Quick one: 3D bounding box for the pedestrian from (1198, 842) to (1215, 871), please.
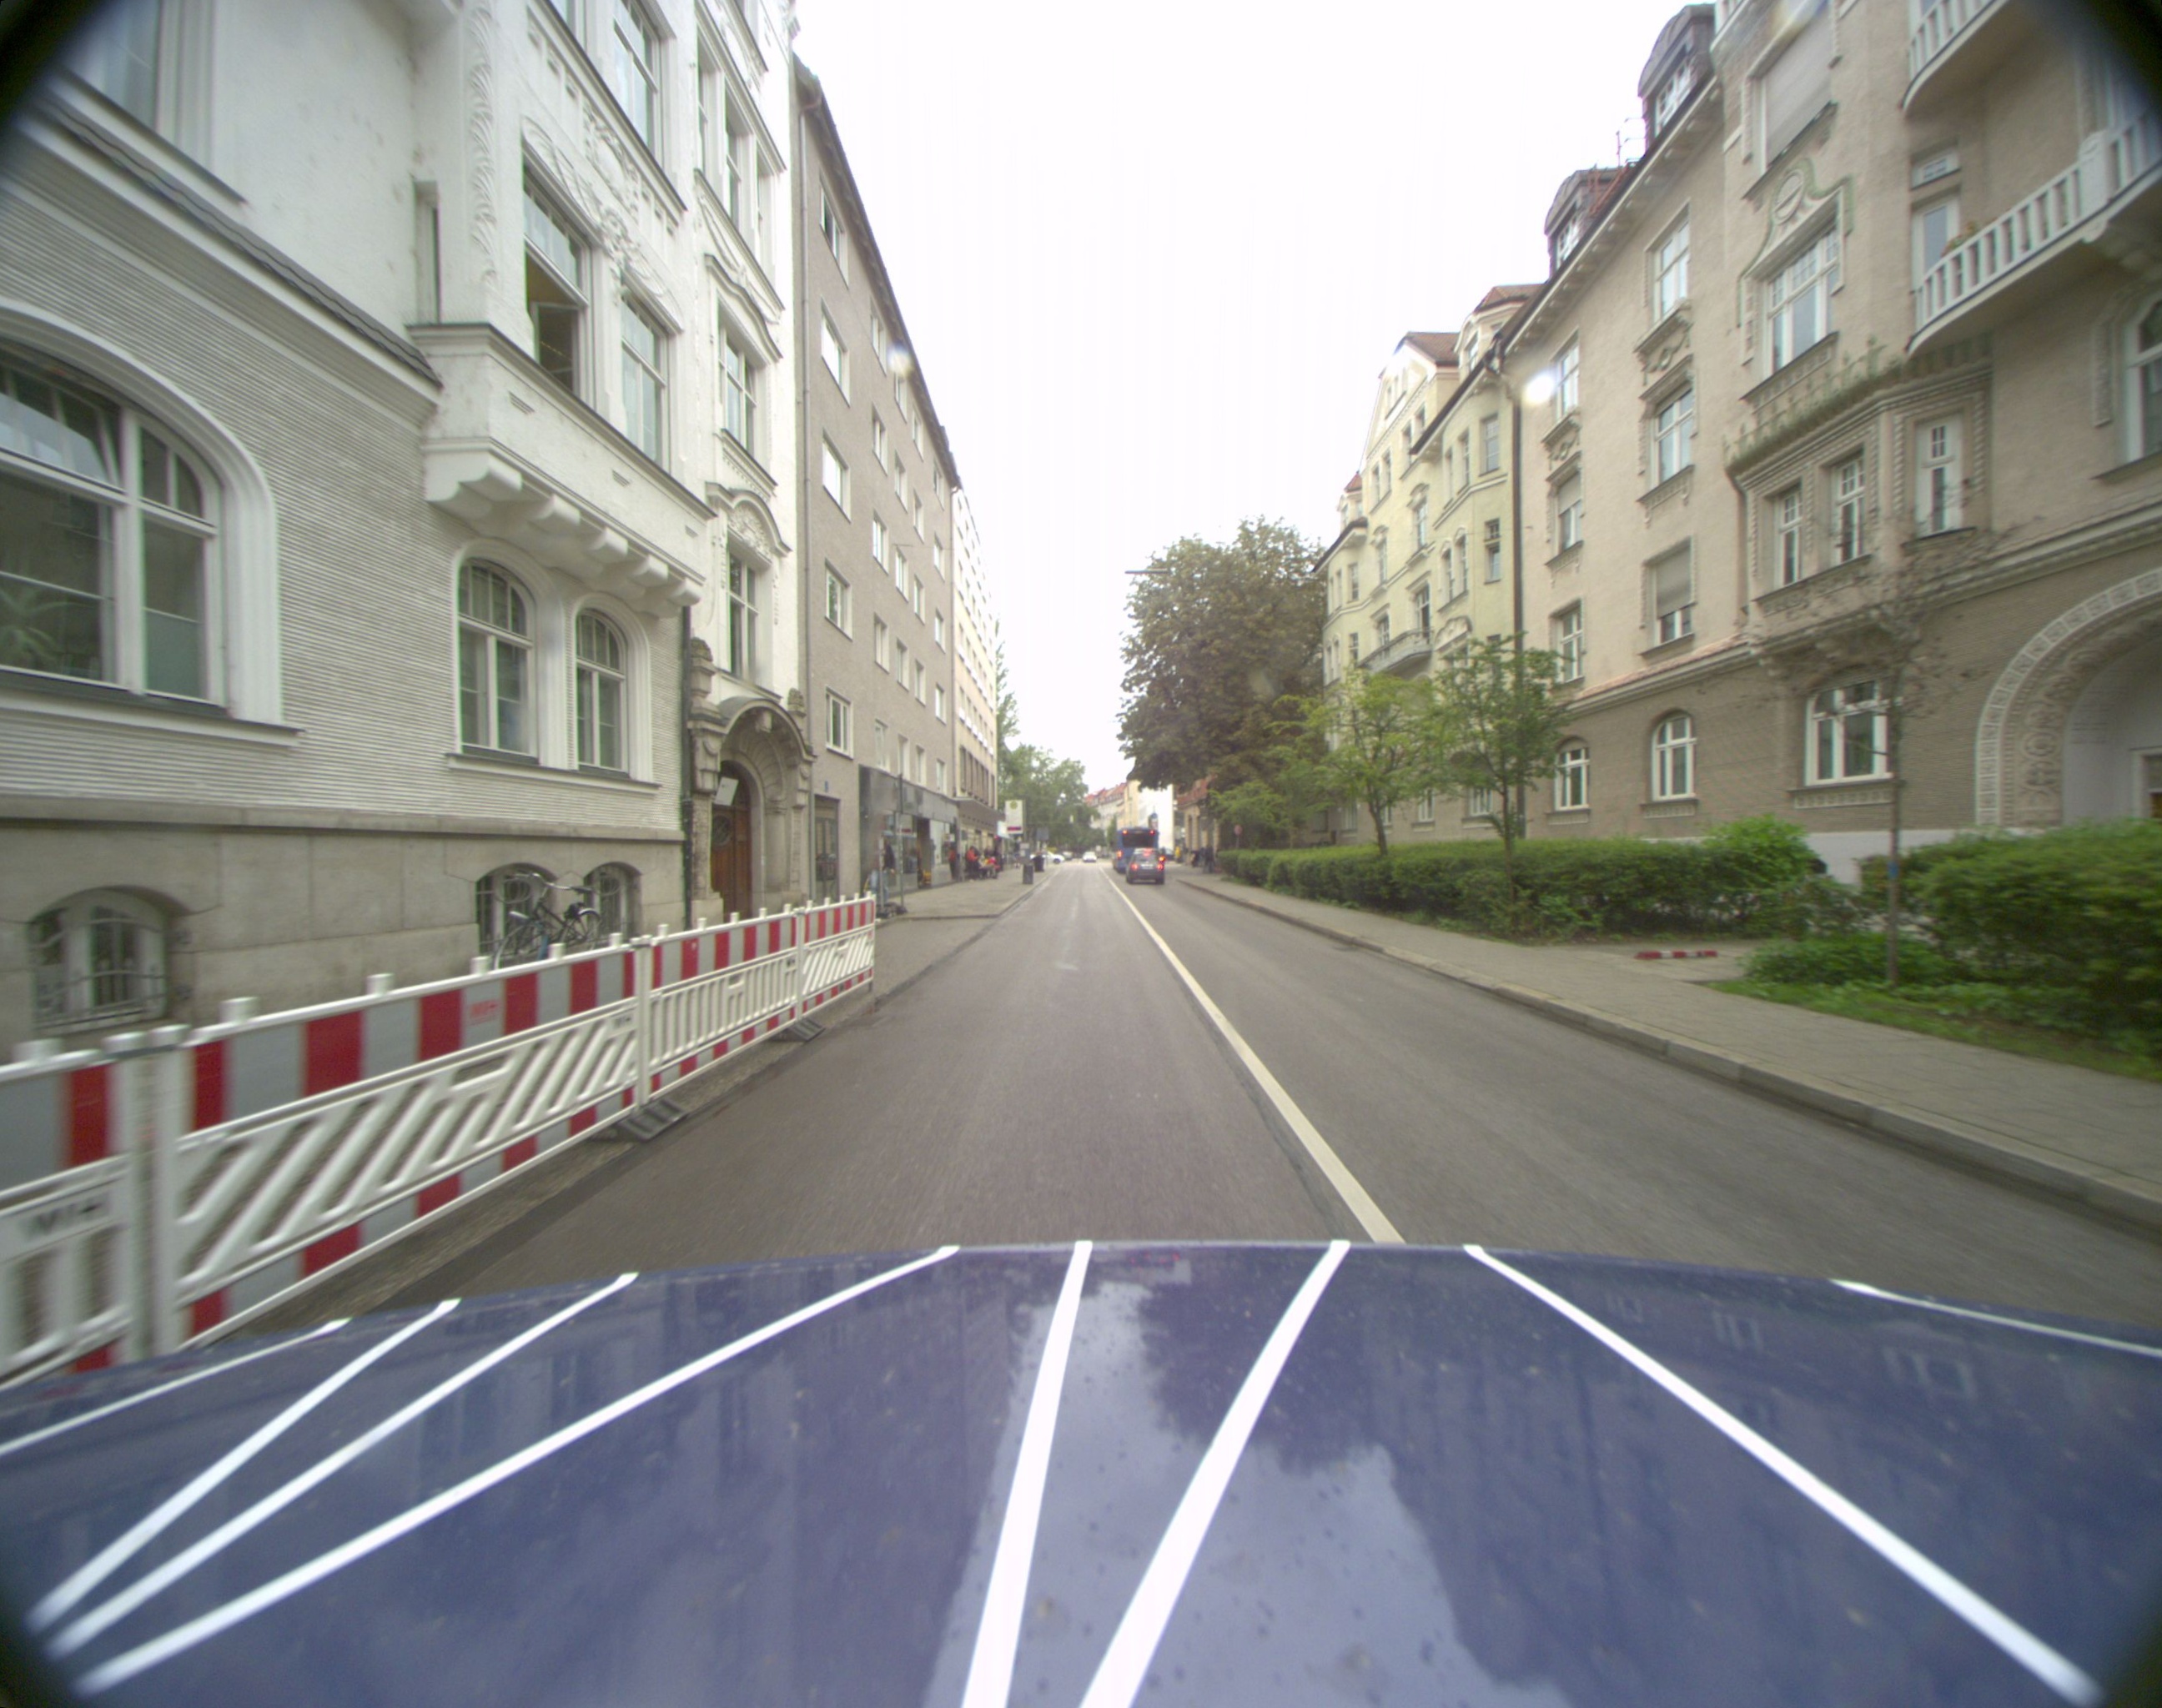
[{"bbox_3d":[7.800,0.157,47.151,0.875,1.735,0.910,0,1,0],"label":"pedestrian"}]

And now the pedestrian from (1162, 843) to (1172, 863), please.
[{"bbox_3d":[8.771,-0.067,77.504,0.952,2.002,1.397,0,1,11],"label":"pedestrian"}]

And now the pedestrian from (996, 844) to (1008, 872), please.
[{"bbox_3d":[-5.057,0.228,48.829,0.659,1.773,0.771,0,1,1],"label":"pedestrian"}]

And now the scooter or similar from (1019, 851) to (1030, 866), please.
[{"bbox_3d":[-4.780,0.345,64.411,0.563,1.234,1.445,-1,1,11],"label":"scooter or similar"}]

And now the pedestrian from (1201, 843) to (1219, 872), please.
[{"bbox_3d":[7.686,0.192,45.404,0.910,1.735,0.847,0,1,0],"label":"pedestrian"}]

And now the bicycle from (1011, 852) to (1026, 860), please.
[{"bbox_3d":[-9.082,0.321,110.877,2.124,1.110,0.738,0,1,-9],"label":"bicycle"}]

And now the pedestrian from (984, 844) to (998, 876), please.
[{"bbox_3d":[-4.944,0.314,41.672,0.659,1.723,0.684,0,1,1],"label":"pedestrian"}]

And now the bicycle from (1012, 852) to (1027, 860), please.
[{"bbox_3d":[-8.918,0.320,110.037,2.124,1.110,0.738,0,1,-9],"label":"bicycle"}]

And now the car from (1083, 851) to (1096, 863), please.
[{"bbox_3d":[1.256,0.459,112.567,1.927,1.608,3.999,-1,1,0],"label":"car"}]

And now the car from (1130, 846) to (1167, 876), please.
[{"bbox_3d":[3.770,0.361,42.928,1.772,1.635,4.273,0,1,1],"label":"car"}]

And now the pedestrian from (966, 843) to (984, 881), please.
[{"bbox_3d":[-4.917,0.375,35.181,0.704,1.723,0.746,0,1,1],"label":"pedestrian"}]

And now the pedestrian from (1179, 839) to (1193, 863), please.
[{"bbox_3d":[8.797,-0.235,63.564,0.832,2.002,0.778,-2,2,-42],"label":"pedestrian"}]

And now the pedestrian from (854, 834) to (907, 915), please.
[{"bbox_3d":[-4.901,0.481,18.674,0.929,1.899,1.179,1,1,1],"label":"pedestrian"}]

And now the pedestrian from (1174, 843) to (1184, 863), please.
[{"bbox_3d":[10.011,-0.109,77.760,0.952,2.002,1.397,0,1,11],"label":"pedestrian"}]

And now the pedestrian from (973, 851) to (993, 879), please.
[{"bbox_3d":[-4.870,0.542,37.863,0.862,1.344,0.862,0,1,1],"label":"pedestrian"}]

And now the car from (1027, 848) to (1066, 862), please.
[{"bbox_3d":[-3.823,0.122,85.087,4.276,1.510,1.999,-1,1,-3],"label":"car"}]

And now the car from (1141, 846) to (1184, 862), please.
[{"bbox_3d":[8.747,-0.021,82.082,4.460,1.738,1.871,0,1,0],"label":"car"}]

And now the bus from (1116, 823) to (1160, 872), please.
[{"bbox_3d":[3.774,-0.462,52.322,2.586,3.083,8.922,0,1,2],"label":"bus"}]

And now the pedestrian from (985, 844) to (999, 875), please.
[{"bbox_3d":[-5.053,0.311,43.069,0.659,1.723,0.778,0,1,1],"label":"pedestrian"}]

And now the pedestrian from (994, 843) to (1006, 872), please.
[{"bbox_3d":[-5.106,0.214,48.061,0.659,1.812,0.696,0,1,1],"label":"pedestrian"}]

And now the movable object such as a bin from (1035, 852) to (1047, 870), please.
[{"bbox_3d":[-2.860,0.489,54.217,0.877,1.243,0.798,0,1,-4],"label":"movable object such as a bin"}]

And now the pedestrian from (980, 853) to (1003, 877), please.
[{"bbox_3d":[-4.646,0.569,39.557,1.099,1.230,0.668,0,1,1],"label":"pedestrian"}]

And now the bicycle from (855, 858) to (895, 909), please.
[{"bbox_3d":[-5.517,0.755,20.448,0.513,1.253,1.820,3,1,1],"label":"bicycle"}]

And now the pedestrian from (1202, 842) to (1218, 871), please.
[{"bbox_3d":[7.862,0.162,46.261,0.875,1.735,0.786,0,1,0],"label":"pedestrian"}]

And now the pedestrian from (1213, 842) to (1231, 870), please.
[{"bbox_3d":[8.787,0.100,47.270,0.784,1.735,0.877,0,1,33],"label":"pedestrian"}]

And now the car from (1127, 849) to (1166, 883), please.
[{"bbox_3d":[3.037,0.528,35.845,1.588,1.471,3.782,0,1,1],"label":"car"}]

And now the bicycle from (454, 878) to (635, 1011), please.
[{"bbox_3d":[-5.825,0.919,8.417,0.662,1.199,1.921,3,1,-3],"label":"bicycle"}]

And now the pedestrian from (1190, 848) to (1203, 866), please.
[{"bbox_3d":[8.480,0.197,55.824,0.830,1.333,0.754,0,1,-1],"label":"pedestrian"}]

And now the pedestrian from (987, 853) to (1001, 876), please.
[{"bbox_3d":[-4.686,0.563,41.102,0.681,1.230,0.495,0,1,1],"label":"pedestrian"}]

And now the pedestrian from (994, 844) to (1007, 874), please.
[{"bbox_3d":[-4.780,0.296,44.976,0.659,1.723,0.696,0,1,1],"label":"pedestrian"}]

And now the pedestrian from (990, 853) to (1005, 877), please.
[{"bbox_3d":[-4.438,0.579,40.595,0.709,1.230,0.585,0,1,1],"label":"pedestrian"}]

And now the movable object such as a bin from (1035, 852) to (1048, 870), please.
[{"bbox_3d":[-2.857,0.490,55.060,0.877,1.243,0.798,0,1,-4],"label":"movable object such as a bin"}]

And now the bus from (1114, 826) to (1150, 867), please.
[{"bbox_3d":[4.004,-0.611,61.218,2.586,3.083,9.107,0,1,2],"label":"bus"}]
